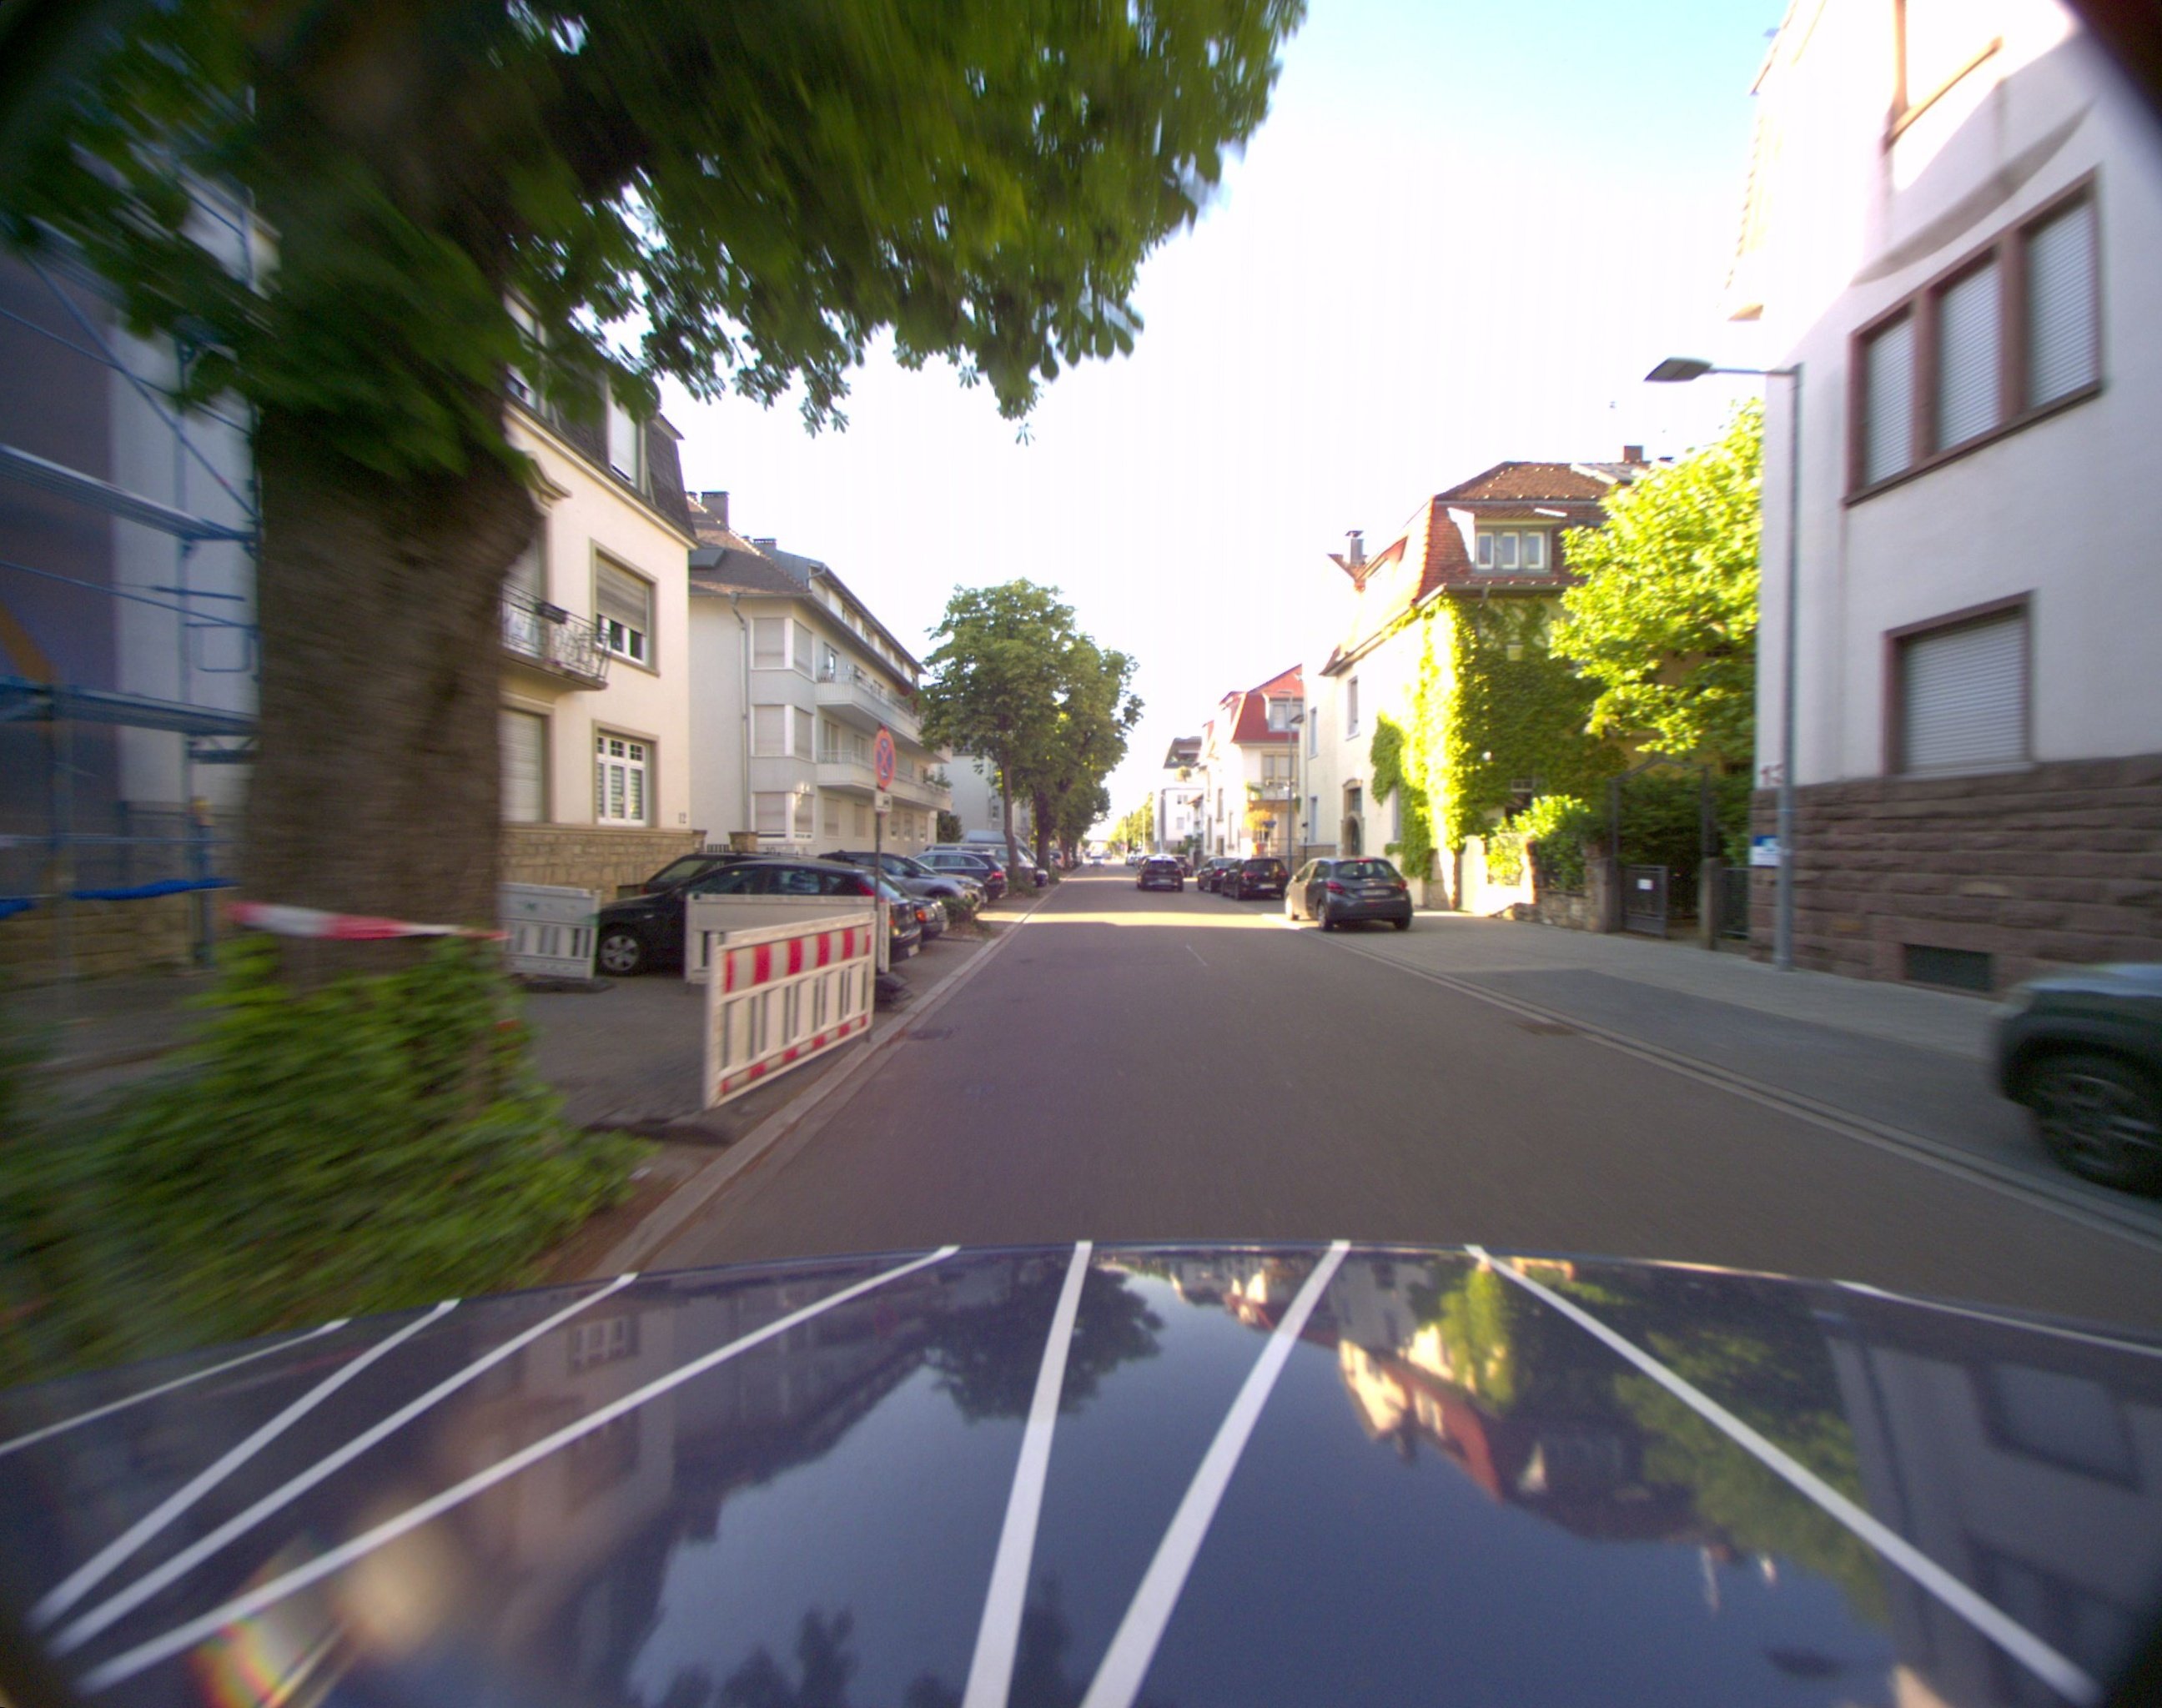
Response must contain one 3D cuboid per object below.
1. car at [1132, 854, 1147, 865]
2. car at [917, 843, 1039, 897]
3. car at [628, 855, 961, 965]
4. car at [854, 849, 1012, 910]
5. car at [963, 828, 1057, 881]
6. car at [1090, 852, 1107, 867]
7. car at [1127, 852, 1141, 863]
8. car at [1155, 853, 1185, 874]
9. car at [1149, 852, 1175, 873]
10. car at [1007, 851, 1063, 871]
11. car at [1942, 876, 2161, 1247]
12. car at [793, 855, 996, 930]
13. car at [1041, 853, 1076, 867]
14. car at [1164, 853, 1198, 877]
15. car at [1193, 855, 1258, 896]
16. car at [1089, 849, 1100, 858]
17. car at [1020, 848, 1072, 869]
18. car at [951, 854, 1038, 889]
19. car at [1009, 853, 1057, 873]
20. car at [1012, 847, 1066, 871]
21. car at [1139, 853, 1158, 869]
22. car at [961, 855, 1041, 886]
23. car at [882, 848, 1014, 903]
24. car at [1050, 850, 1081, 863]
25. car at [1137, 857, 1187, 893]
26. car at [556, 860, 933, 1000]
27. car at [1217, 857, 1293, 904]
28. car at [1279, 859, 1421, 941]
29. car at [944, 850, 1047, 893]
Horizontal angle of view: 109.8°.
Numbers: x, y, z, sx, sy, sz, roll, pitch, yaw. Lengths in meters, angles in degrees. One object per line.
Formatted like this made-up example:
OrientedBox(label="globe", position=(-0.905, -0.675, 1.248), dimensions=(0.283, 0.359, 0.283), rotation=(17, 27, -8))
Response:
OrientedBox(label="car", position=(7.439, 0.713, 97.351), dimensions=(1.723, 1.386, 3.908), rotation=(-2, 0, 2))
OrientedBox(label="car", position=(-3.928, 0.611, 29.561), dimensions=(4.481, 2.002, 1.896), rotation=(0, 1, -1))
OrientedBox(label="car", position=(-4.502, 0.847, 12.452), dimensions=(4.729, 1.526, 1.851), rotation=(1, 1, 1))
OrientedBox(label="car", position=(-4.298, 0.733, 22.512), dimensions=(4.343, 1.673, 1.705), rotation=(1, 0, -2))
OrientedBox(label="car", position=(-3.920, 0.025, 42.663), dimensions=(5.108, 2.885, 2.075), rotation=(0, 1, -1))
OrientedBox(label="car", position=(2.167, 0.655, 92.953), dimensions=(2.098, 1.700, 4.606), rotation=(-1, 1, 2))
OrientedBox(label="car", position=(7.180, 0.482, 102.556), dimensions=(1.723, 1.386, 3.908), rotation=(-2, 0, 2))
OrientedBox(label="car", position=(6.464, 0.658, 55.389), dimensions=(1.586, 1.468, 3.705), rotation=(-2, 0, -3))
OrientedBox(label="car", position=(6.350, 0.662, 60.081), dimensions=(1.585, 1.511, 3.706), rotation=(-2, 0, 0))
OrientedBox(label="car", position=(-3.570, 0.562, 59.115), dimensions=(4.312, 1.532, 1.758), rotation=(0, 0, -2))
OrientedBox(label="car", position=(5.246, 0.868, 2.036), dimensions=(1.657, 1.477, 3.764), rotation=(-2, 0, 2))
OrientedBox(label="car", position=(-4.165, 0.838, 17.466), dimensions=(4.166, 1.530, 1.851), rotation=(1, 1, 1))
OrientedBox(label="car", position=(-2.376, 0.643, 81.430), dimensions=(3.680, 1.488, 1.676), rotation=(0, 0, 1))
OrientedBox(label="car", position=(6.530, 0.694, 49.924), dimensions=(1.657, 1.446, 4.631), rotation=(-2, 0, 1))
OrientedBox(label="car", position=(5.897, 0.830, 31.524), dimensions=(1.713, 1.461, 4.633), rotation=(-2, 0, -1))
OrientedBox(label="car", position=(2.616, -0.139, 143.914), dimensions=(1.913, 1.679, 4.198), rotation=(-2, 0, 2))
OrientedBox(label="car", position=(-3.266, 0.389, 72.012), dimensions=(4.819, 1.925, 1.950), rotation=(0, 0, 2))
OrientedBox(label="car", position=(-3.898, 0.767, 34.564), dimensions=(3.729, 1.545, 1.639), rotation=(0, 1, 2))
OrientedBox(label="car", position=(-3.509, 0.662, 56.214), dimensions=(3.411, 1.419, 1.759), rotation=(1, 0, 1))
OrientedBox(label="car", position=(-3.374, 0.401, 61.877), dimensions=(4.312, 1.874, 1.758), rotation=(0, 1, -2))
OrientedBox(label="car", position=(6.606, 0.632, 74.470), dimensions=(1.654, 1.474, 3.429), rotation=(-2, 0, 3))
OrientedBox(label="car", position=(-3.889, 0.788, 37.387), dimensions=(3.730, 1.422, 1.758), rotation=(0, 2, 0))
OrientedBox(label="car", position=(-4.347, 0.678, 25.172), dimensions=(3.958, 1.673, 1.706), rotation=(1, 0, 4))
OrientedBox(label="car", position=(-1.811, 0.307, 89.468), dimensions=(3.680, 1.434, 1.601), rotation=(0, 0, 1))
OrientedBox(label="car", position=(3.446, 0.858, 32.944), dimensions=(1.776, 1.440, 4.000), rotation=(0, 0, 1))
OrientedBox(label="car", position=(-4.120, 0.886, 9.763), dimensions=(3.996, 1.483, 1.851), rotation=(1, 1, 3))
OrientedBox(label="car", position=(5.877, 0.848, 26.125), dimensions=(1.657, 1.407, 4.167), rotation=(-2, 0, 0))
OrientedBox(label="car", position=(5.497, 0.862, 16.052), dimensions=(1.657, 1.438, 4.005), rotation=(-2, 0, 1))
OrientedBox(label="car", position=(-3.569, 0.712, 32.013), dimensions=(4.188, 1.714, 1.764), rotation=(0, 1, -6))
